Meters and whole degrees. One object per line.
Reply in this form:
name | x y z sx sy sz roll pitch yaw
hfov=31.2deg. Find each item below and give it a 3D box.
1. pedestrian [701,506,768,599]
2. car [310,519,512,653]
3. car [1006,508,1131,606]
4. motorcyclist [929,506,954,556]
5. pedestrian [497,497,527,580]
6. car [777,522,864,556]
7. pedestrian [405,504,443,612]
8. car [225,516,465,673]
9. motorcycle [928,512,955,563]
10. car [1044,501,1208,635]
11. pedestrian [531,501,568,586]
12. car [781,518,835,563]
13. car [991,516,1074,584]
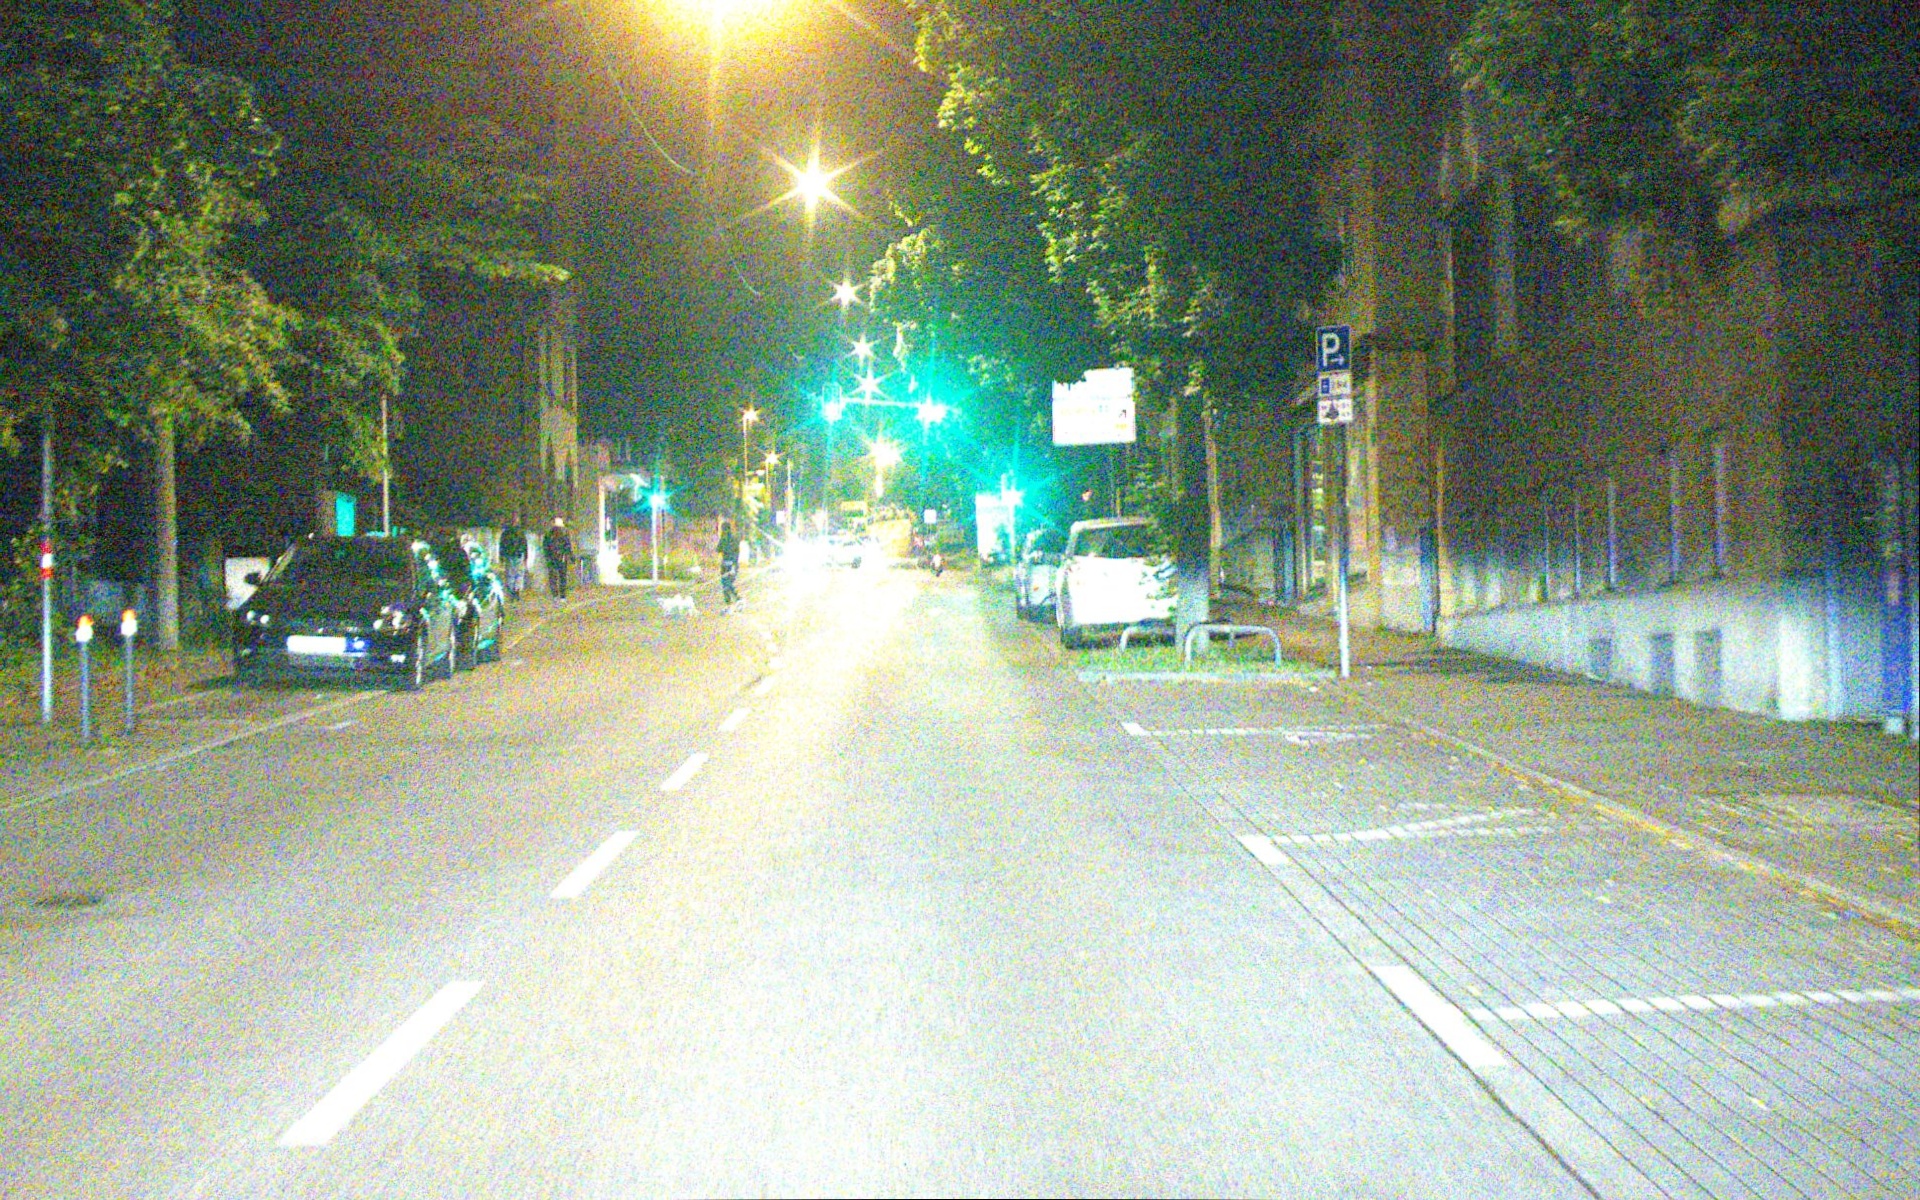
pedestrian | -4.211 -0.891 64.253 0.766 1.694 0.925 3 1 34
car | -6.220 -0.207 39.400 1.721 1.432 4.811 0 1 -2
car | 1.782 -0.737 57.626 1.868 1.521 4.150 -2 1 -1
motorcyclist | -0.658 -2.460 122.424 0.848 1.746 0.805 1 0 0
pedestrian | -9.289 -1.266 71.319 0.569 1.694 0.930 1 0 -10
car | -6.338 -2.782 156.613 1.719 1.452 3.912 0 0 43
pedestrian | -8.466 -0.654 54.315 0.580 1.694 0.531 1 0 -9
car | -6.019 -0.087 34.056 1.721 1.432 4.191 1 1 -2
motorcycle | -0.658 -2.217 122.441 0.931 1.746 2.625 1 0 0
car | 2.093 -0.438 44.318 1.812 1.588 4.274 -2 1 -1
pedestrian | -8.537 -1.173 71.475 0.718 1.759 0.603 1 0 -9
car | -5.972 -2.328 135.419 1.944 1.711 4.000 1 0 -1
car | 1.601 -1.121 77.105 1.629 1.491 3.415 1 1 -2
